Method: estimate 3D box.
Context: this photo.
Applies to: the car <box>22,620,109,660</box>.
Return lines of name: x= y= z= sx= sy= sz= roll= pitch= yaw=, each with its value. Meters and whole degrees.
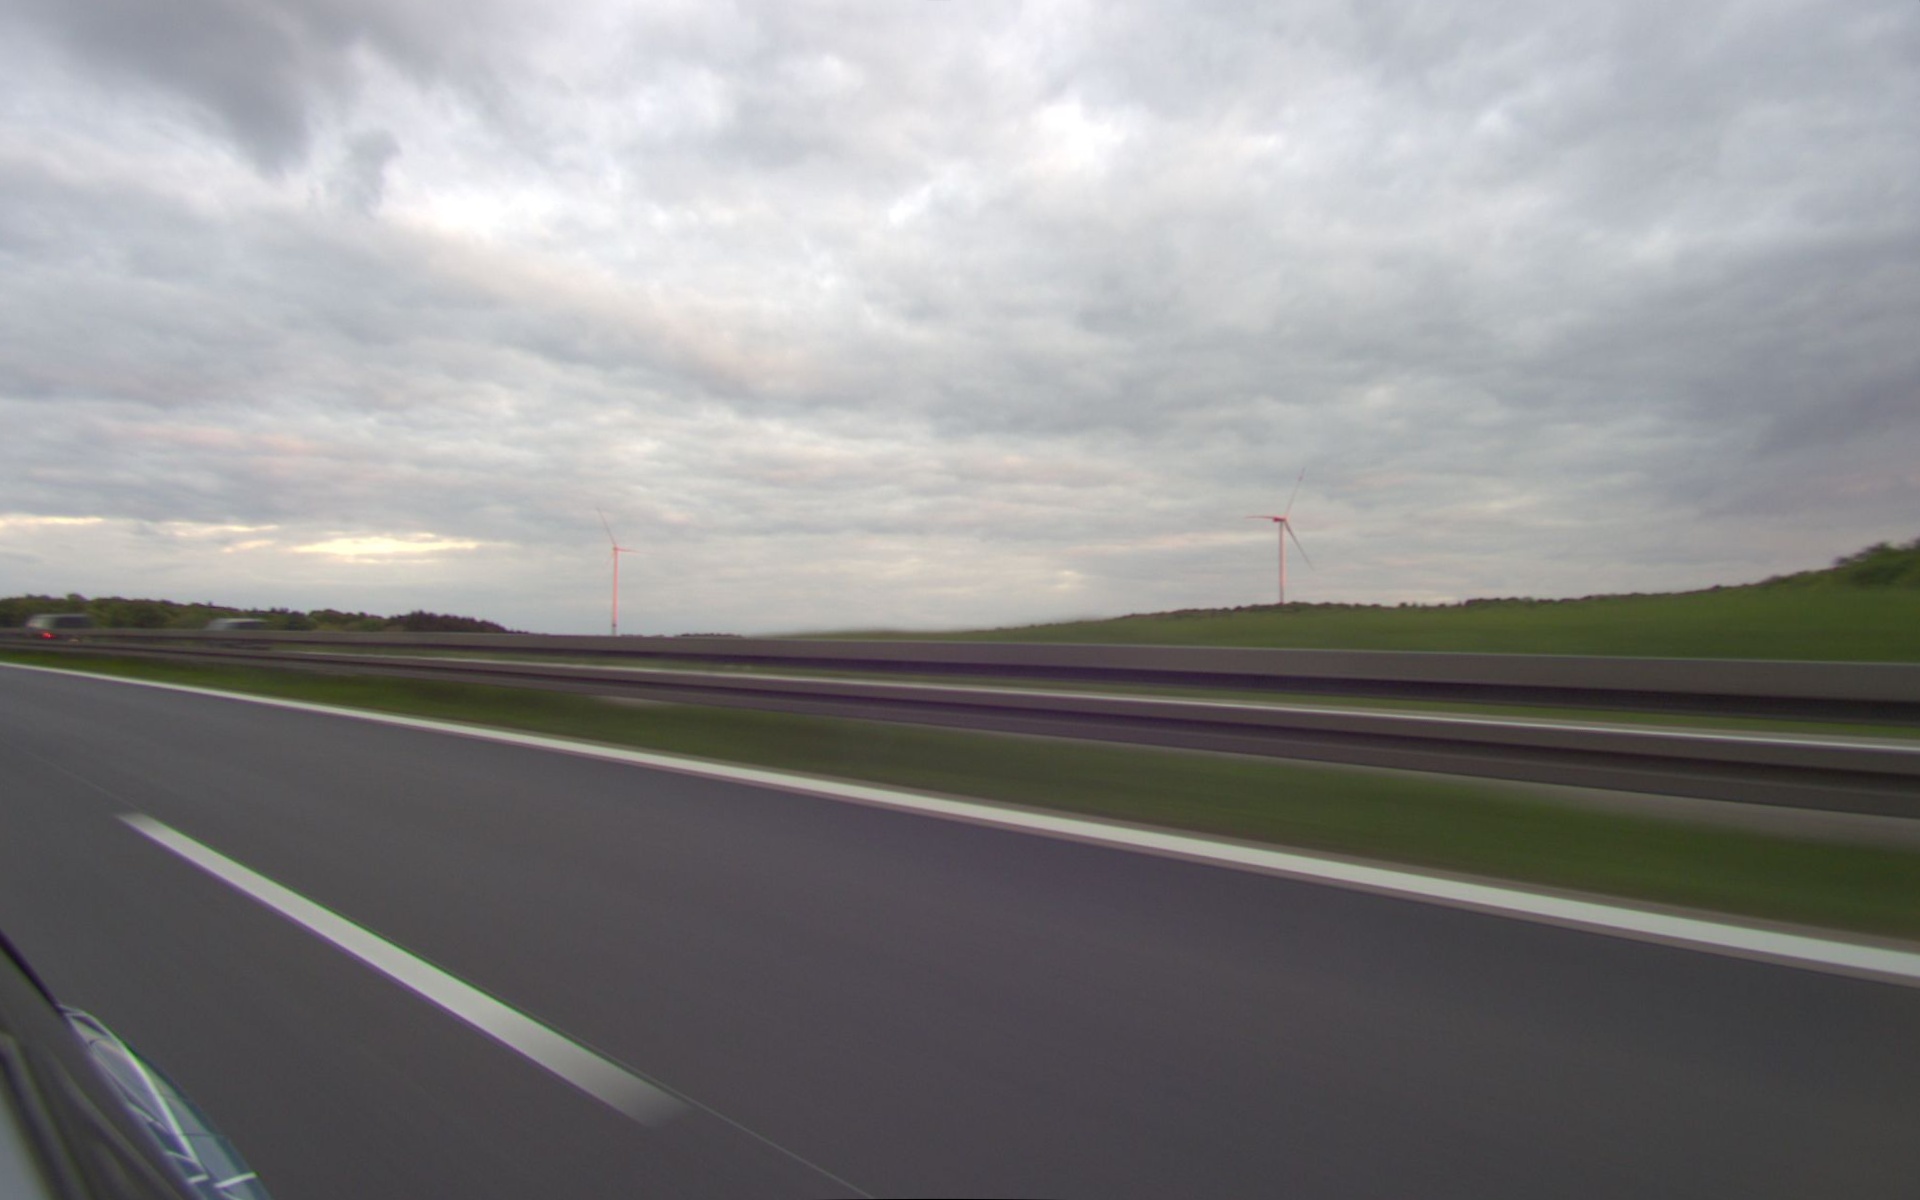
car: x=-45.227 y=1.987 z=51.128 sx=5.118 sy=1.886 sz=2.085 roll=-1 pitch=-2 yaw=34

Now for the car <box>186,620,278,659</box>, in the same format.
car: x=-33.241 y=1.772 z=46.168 sx=4.660 sy=1.672 sz=2.007 roll=-1 pitch=-2 yaw=35
